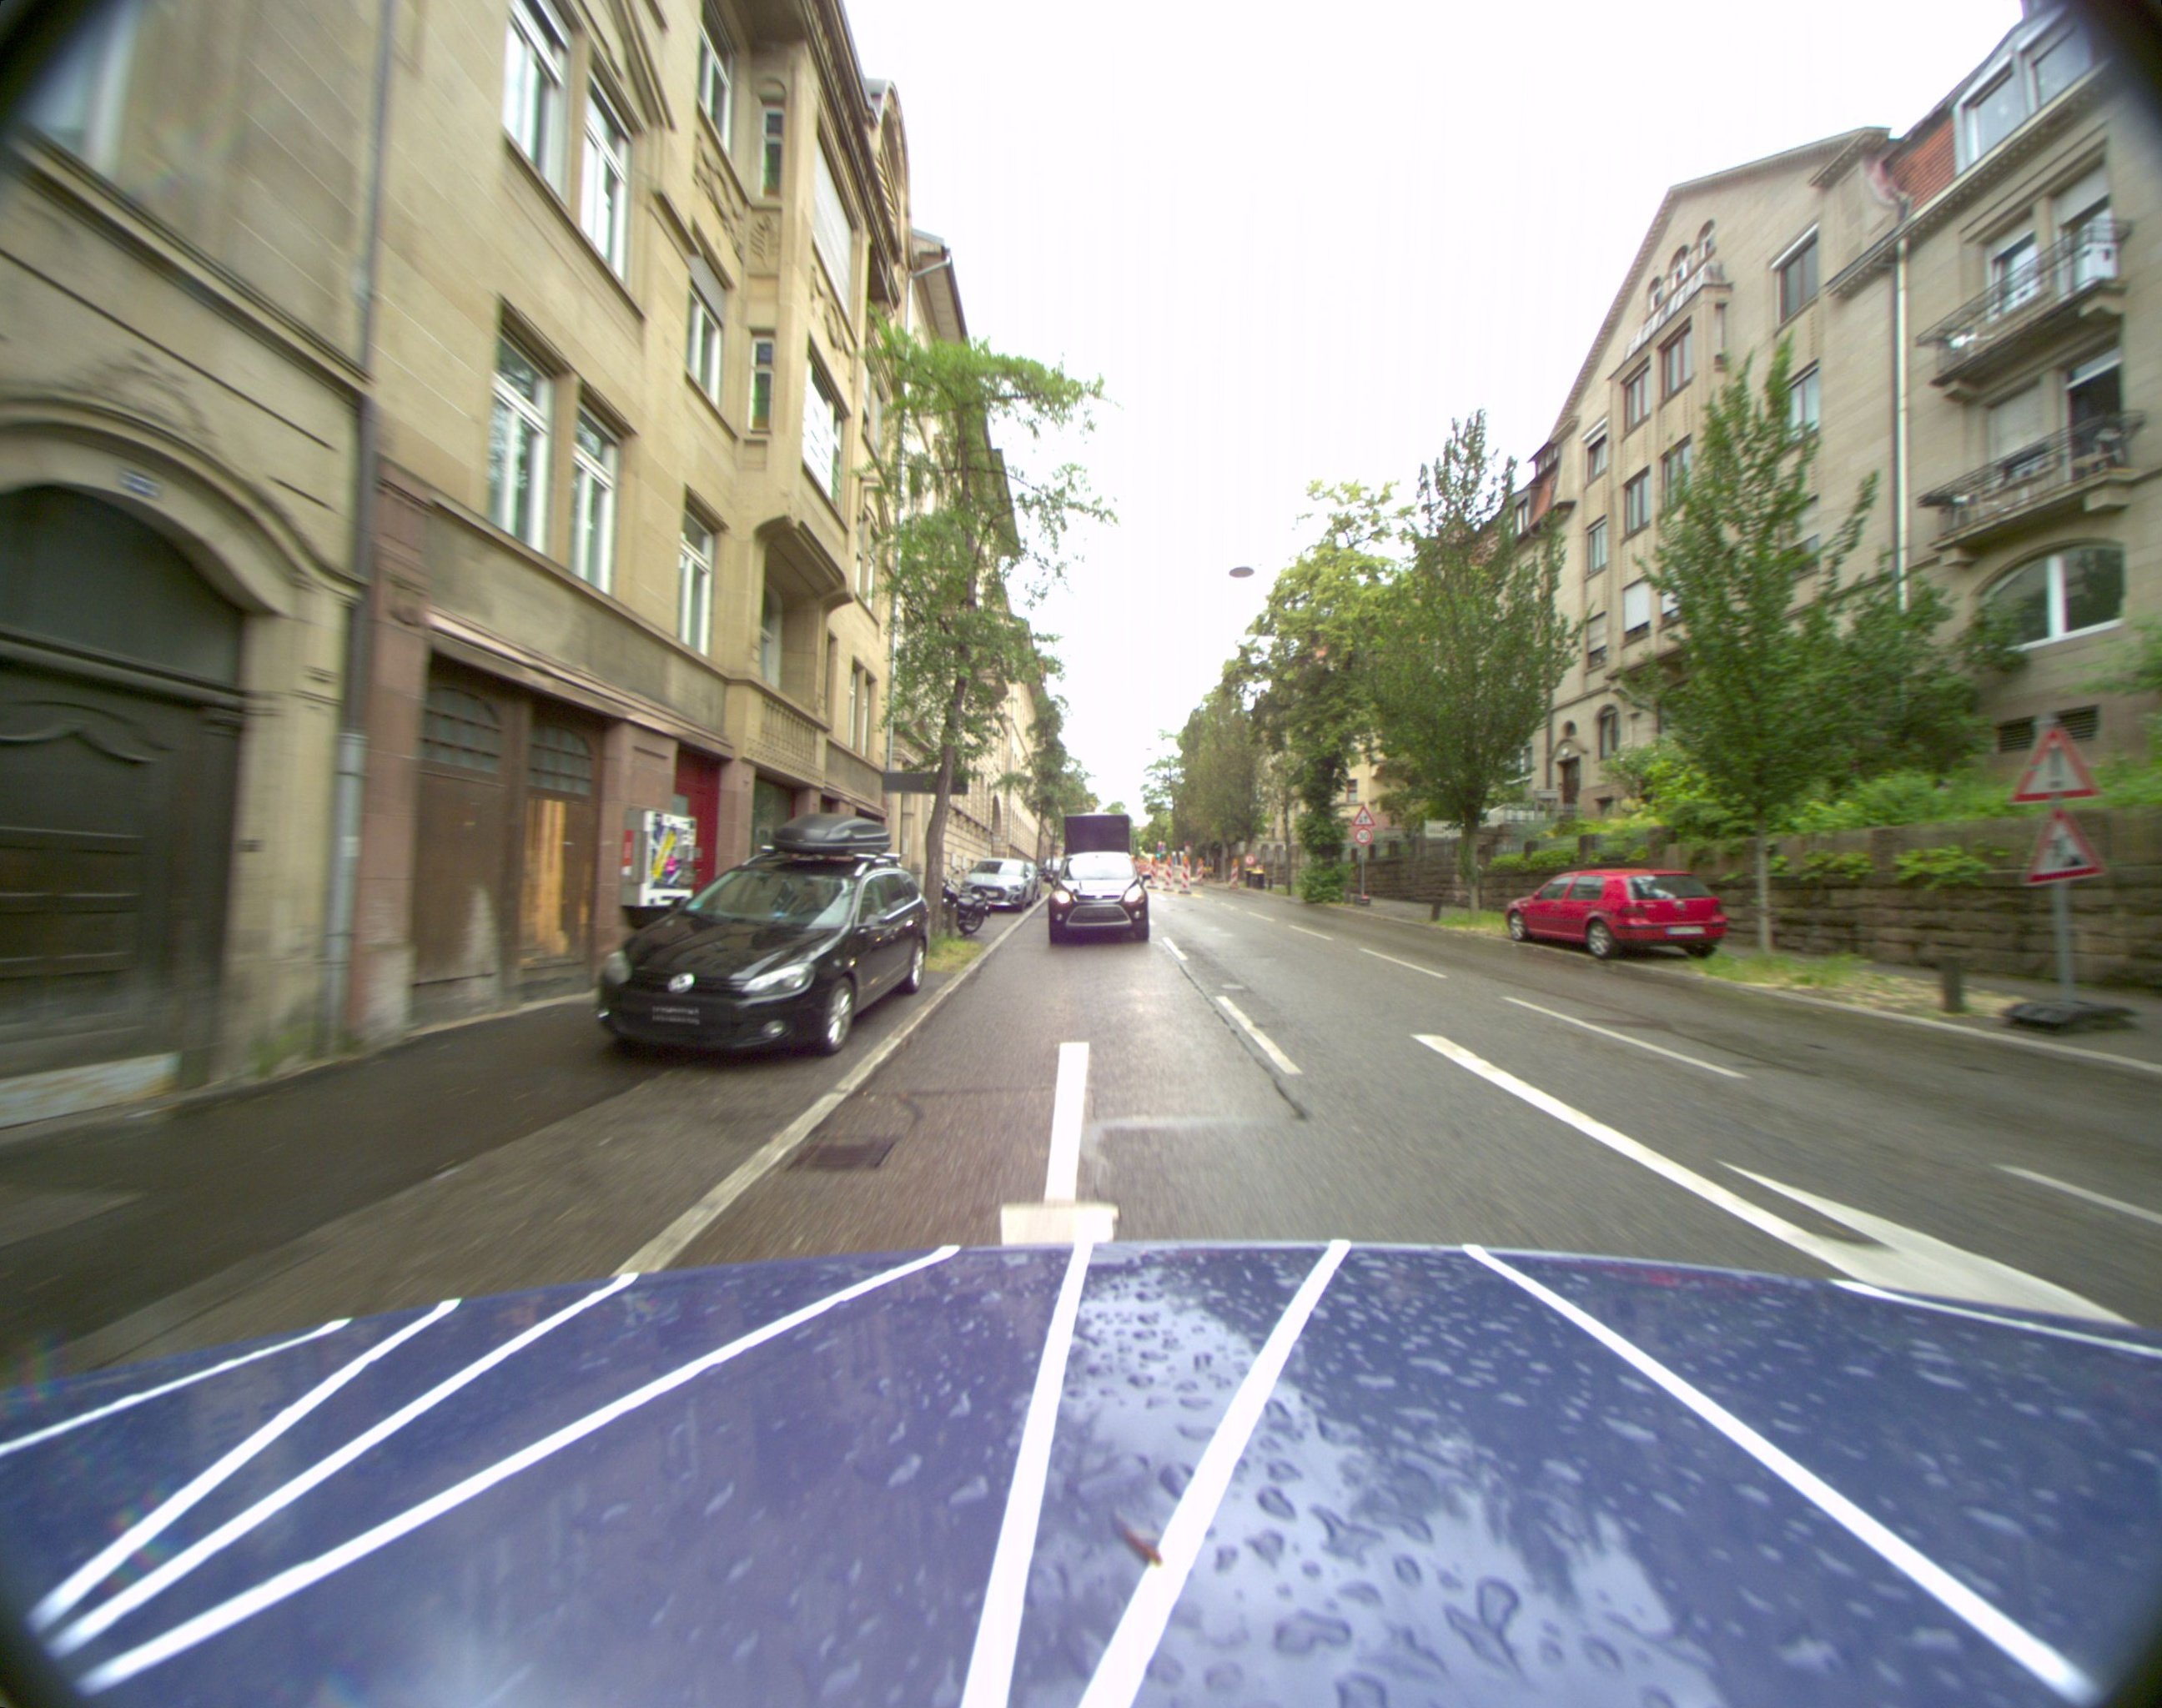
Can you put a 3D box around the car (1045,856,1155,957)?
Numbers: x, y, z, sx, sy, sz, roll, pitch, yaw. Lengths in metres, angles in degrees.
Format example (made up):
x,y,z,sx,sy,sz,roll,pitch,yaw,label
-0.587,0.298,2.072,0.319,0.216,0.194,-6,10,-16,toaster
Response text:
x,y,z,sx,sy,sz,roll,pitch,yaw,label
0.398,0.889,14.977,1.823,1.662,4.522,-1,0,2,car

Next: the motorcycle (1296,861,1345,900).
x,y,z,sx,sy,sz,roll,pitch,yaw,label
9.237,0.998,29.466,0.802,1.406,3.061,-2,0,-2,motorcycle

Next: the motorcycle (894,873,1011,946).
x,y,z,sx,sy,sz,roll,pitch,yaw,label
-2.330,1.011,14.097,0.523,1.236,2.282,3,-1,40,motorcycle

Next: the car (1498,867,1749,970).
x,y,z,sx,sy,sz,roll,pitch,yaw,label
9.224,1.001,13.391,1.617,1.442,4.064,-1,0,2,car

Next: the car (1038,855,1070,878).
x,y,z,sx,sy,sz,roll,pitch,yaw,label
-1.884,0.869,53.808,1.910,1.503,4.318,3,0,2,car

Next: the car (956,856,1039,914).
x,y,z,sx,sy,sz,roll,pitch,yaw,label
-2.318,0.829,22.087,1.794,1.444,4.039,3,0,2,car

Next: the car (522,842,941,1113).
x,y,z,sx,sy,sz,roll,pitch,yaw,label
-2.671,0.808,7.019,1.764,1.641,4.099,4,0,2,car

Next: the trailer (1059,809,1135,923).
x,y,z,sx,sy,sz,roll,pitch,yaw,label
0.405,0.278,20.829,1.783,2.744,4.816,-1,1,0,trailer

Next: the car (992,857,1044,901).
x,y,z,sx,sy,sz,roll,pitch,yaw,label
-2.243,0.863,27.610,1.495,1.440,3.181,1,0,2,car
